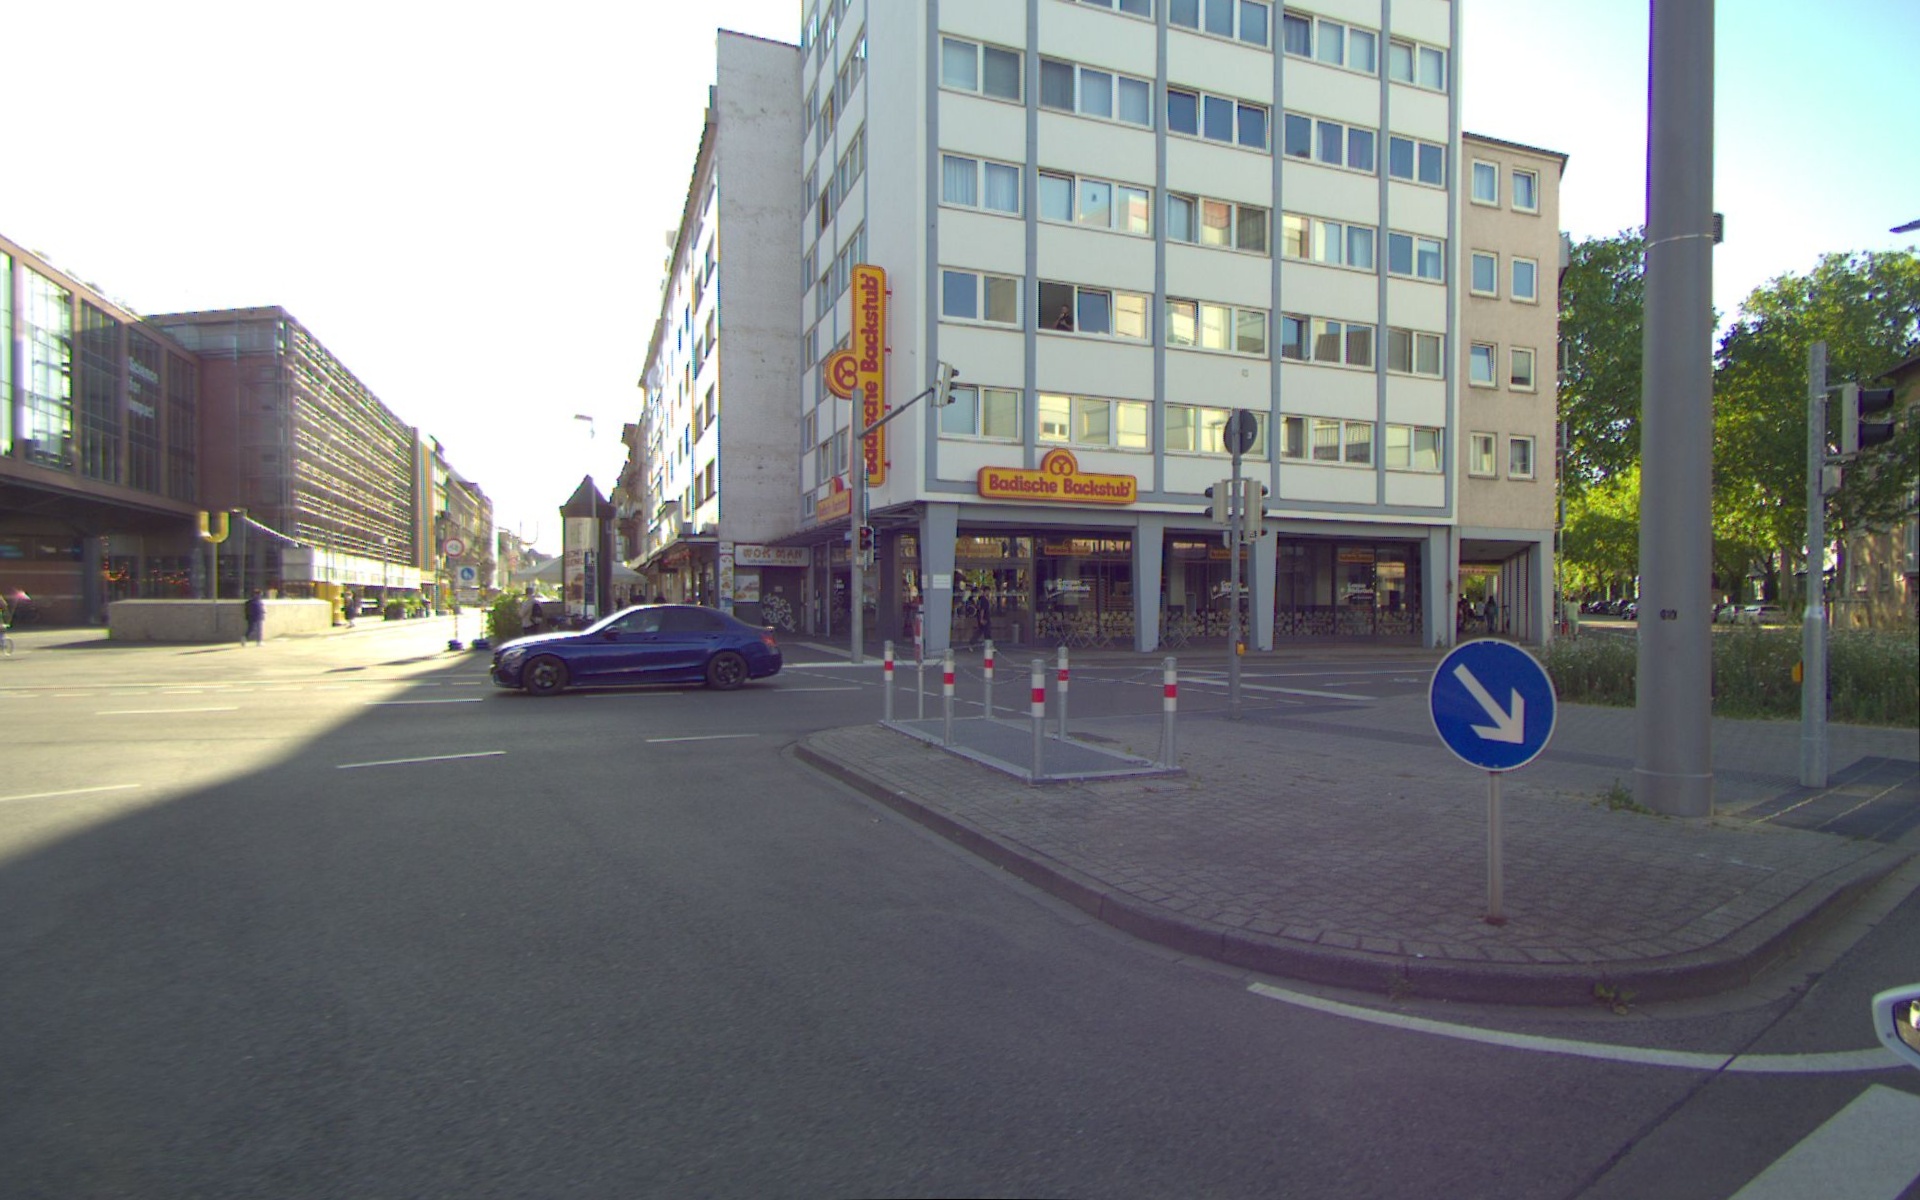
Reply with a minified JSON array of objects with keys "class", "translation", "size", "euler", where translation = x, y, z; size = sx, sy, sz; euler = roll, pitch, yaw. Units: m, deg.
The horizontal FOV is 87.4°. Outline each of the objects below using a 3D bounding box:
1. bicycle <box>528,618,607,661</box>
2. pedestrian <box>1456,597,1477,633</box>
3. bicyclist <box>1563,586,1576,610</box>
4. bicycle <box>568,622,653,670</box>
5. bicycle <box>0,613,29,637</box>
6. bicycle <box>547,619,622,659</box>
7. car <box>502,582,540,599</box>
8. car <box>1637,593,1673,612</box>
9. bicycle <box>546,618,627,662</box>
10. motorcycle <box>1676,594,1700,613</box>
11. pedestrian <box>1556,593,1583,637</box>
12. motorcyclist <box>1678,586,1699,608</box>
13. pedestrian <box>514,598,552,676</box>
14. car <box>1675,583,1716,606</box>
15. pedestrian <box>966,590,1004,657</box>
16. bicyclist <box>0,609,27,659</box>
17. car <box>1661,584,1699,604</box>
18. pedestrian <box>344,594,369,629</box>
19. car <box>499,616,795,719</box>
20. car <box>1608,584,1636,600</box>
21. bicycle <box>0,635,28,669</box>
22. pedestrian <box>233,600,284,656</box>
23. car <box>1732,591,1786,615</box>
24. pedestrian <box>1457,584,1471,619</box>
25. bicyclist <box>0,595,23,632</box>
[{"class":"bicycle","translation":[-11.091,1.107,28.426],"size":[1.982,1.067,0.592],"euler":[-2,2,-30]},{"class":"pedestrian","translation":[25.506,0.734,50.568],"size":[0.821,1.747,0.851],"euler":[1,2,38]},{"class":"bicyclist","translation":[49.776,-0.177,82.034],"size":[0.802,1.974,0.857],"euler":[-1,2,20]},{"class":"bicycle","translation":[-8.914,1.154,25.708],"size":[0.588,1.067,1.994],"euler":[1,3,43]},{"class":"bicycle","translation":[-36.181,0.962,37.974],"size":[0.768,0.819,2.008],"euler":[-2,2,-23]},{"class":"bicycle","translation":[-11.034,1.146,29.573],"size":[1.974,1.067,0.594],"euler":[-2,2,-17]},{"class":"car","translation":[-79.181,-1.774,181.162],"size":[6.220,2.947,2.551],"euler":[-1,3,-27]},{"class":"car","translation":[56.919,0.173,82.285],"size":[1.894,1.407,3.994],"euler":[0,2,27]},{"class":"bicycle","translation":[-10.265,1.072,27.679],"size":[1.989,1.067,0.590],"euler":[-3,2,-39]},{"class":"motorcycle","translation":[48.144,0.208,66.417],"size":[0.959,1.147,2.799],"euler":[1,3,30]},{"class":"pedestrian","translation":[24.468,0.593,40.321],"size":[0.792,1.747,0.776],"euler":[0,2,21]},{"class":"motorcyclist","translation":[48.076,-0.194,66.281],"size":[0.956,1.365,1.135],"euler":[1,3,29]},{"class":"pedestrian","translation":[-10.205,0.878,24.016],"size":[0.773,1.815,0.627],"euler":[-1,1,-20]},{"class":"car","translation":[62.687,-0.479,85.642],"size":[2.001,1.783,4.090],"euler":[-1,2,24]},{"class":"pedestrian","translation":[0.656,0.611,26.718],"size":[0.764,1.747,0.804],"euler":[-1,2,-20]},{"class":"bicyclist","translation":[-26.291,0.929,27.834],"size":[0.613,1.330,0.945],"euler":[-3,3,-43]},{"class":"car","translation":[65.345,-0.576,91.169],"size":[2.001,1.742,4.090],"euler":[-1,2,24]},{"class":"pedestrian","translation":[-30.004,0.572,49.947],"size":[0.684,1.687,0.753],"euler":[0,2,18]},{"class":"car","translation":[-5.238,1.051,16.931],"size":[4.532,1.404,1.828],"euler":[-1,1,-24]},{"class":"car","translation":[74.970,-0.945,113.834],"size":[2.001,1.765,4.090],"euler":[0,1,24]},{"class":"bicycle","translation":[-26.290,1.432,27.852],"size":[0.613,0.819,1.993],"euler":[-3,3,-43]},{"class":"pedestrian","translation":[-21.977,0.871,31.474],"size":[0.866,1.687,0.908],"euler":[-1,2,15]},{"class":"car","translation":[55.583,0.180,69.961],"size":[2.001,1.525,4.090],"euler":[-1,2,24]},{"class":"pedestrian","translation":[26.539,0.096,52.921],"size":[0.603,1.820,0.655],"euler":[0,2,21]},{"class":"bicyclist","translation":[-36.175,0.499,37.947],"size":[0.768,1.358,1.016],"euler":[-2,2,-23]}]
